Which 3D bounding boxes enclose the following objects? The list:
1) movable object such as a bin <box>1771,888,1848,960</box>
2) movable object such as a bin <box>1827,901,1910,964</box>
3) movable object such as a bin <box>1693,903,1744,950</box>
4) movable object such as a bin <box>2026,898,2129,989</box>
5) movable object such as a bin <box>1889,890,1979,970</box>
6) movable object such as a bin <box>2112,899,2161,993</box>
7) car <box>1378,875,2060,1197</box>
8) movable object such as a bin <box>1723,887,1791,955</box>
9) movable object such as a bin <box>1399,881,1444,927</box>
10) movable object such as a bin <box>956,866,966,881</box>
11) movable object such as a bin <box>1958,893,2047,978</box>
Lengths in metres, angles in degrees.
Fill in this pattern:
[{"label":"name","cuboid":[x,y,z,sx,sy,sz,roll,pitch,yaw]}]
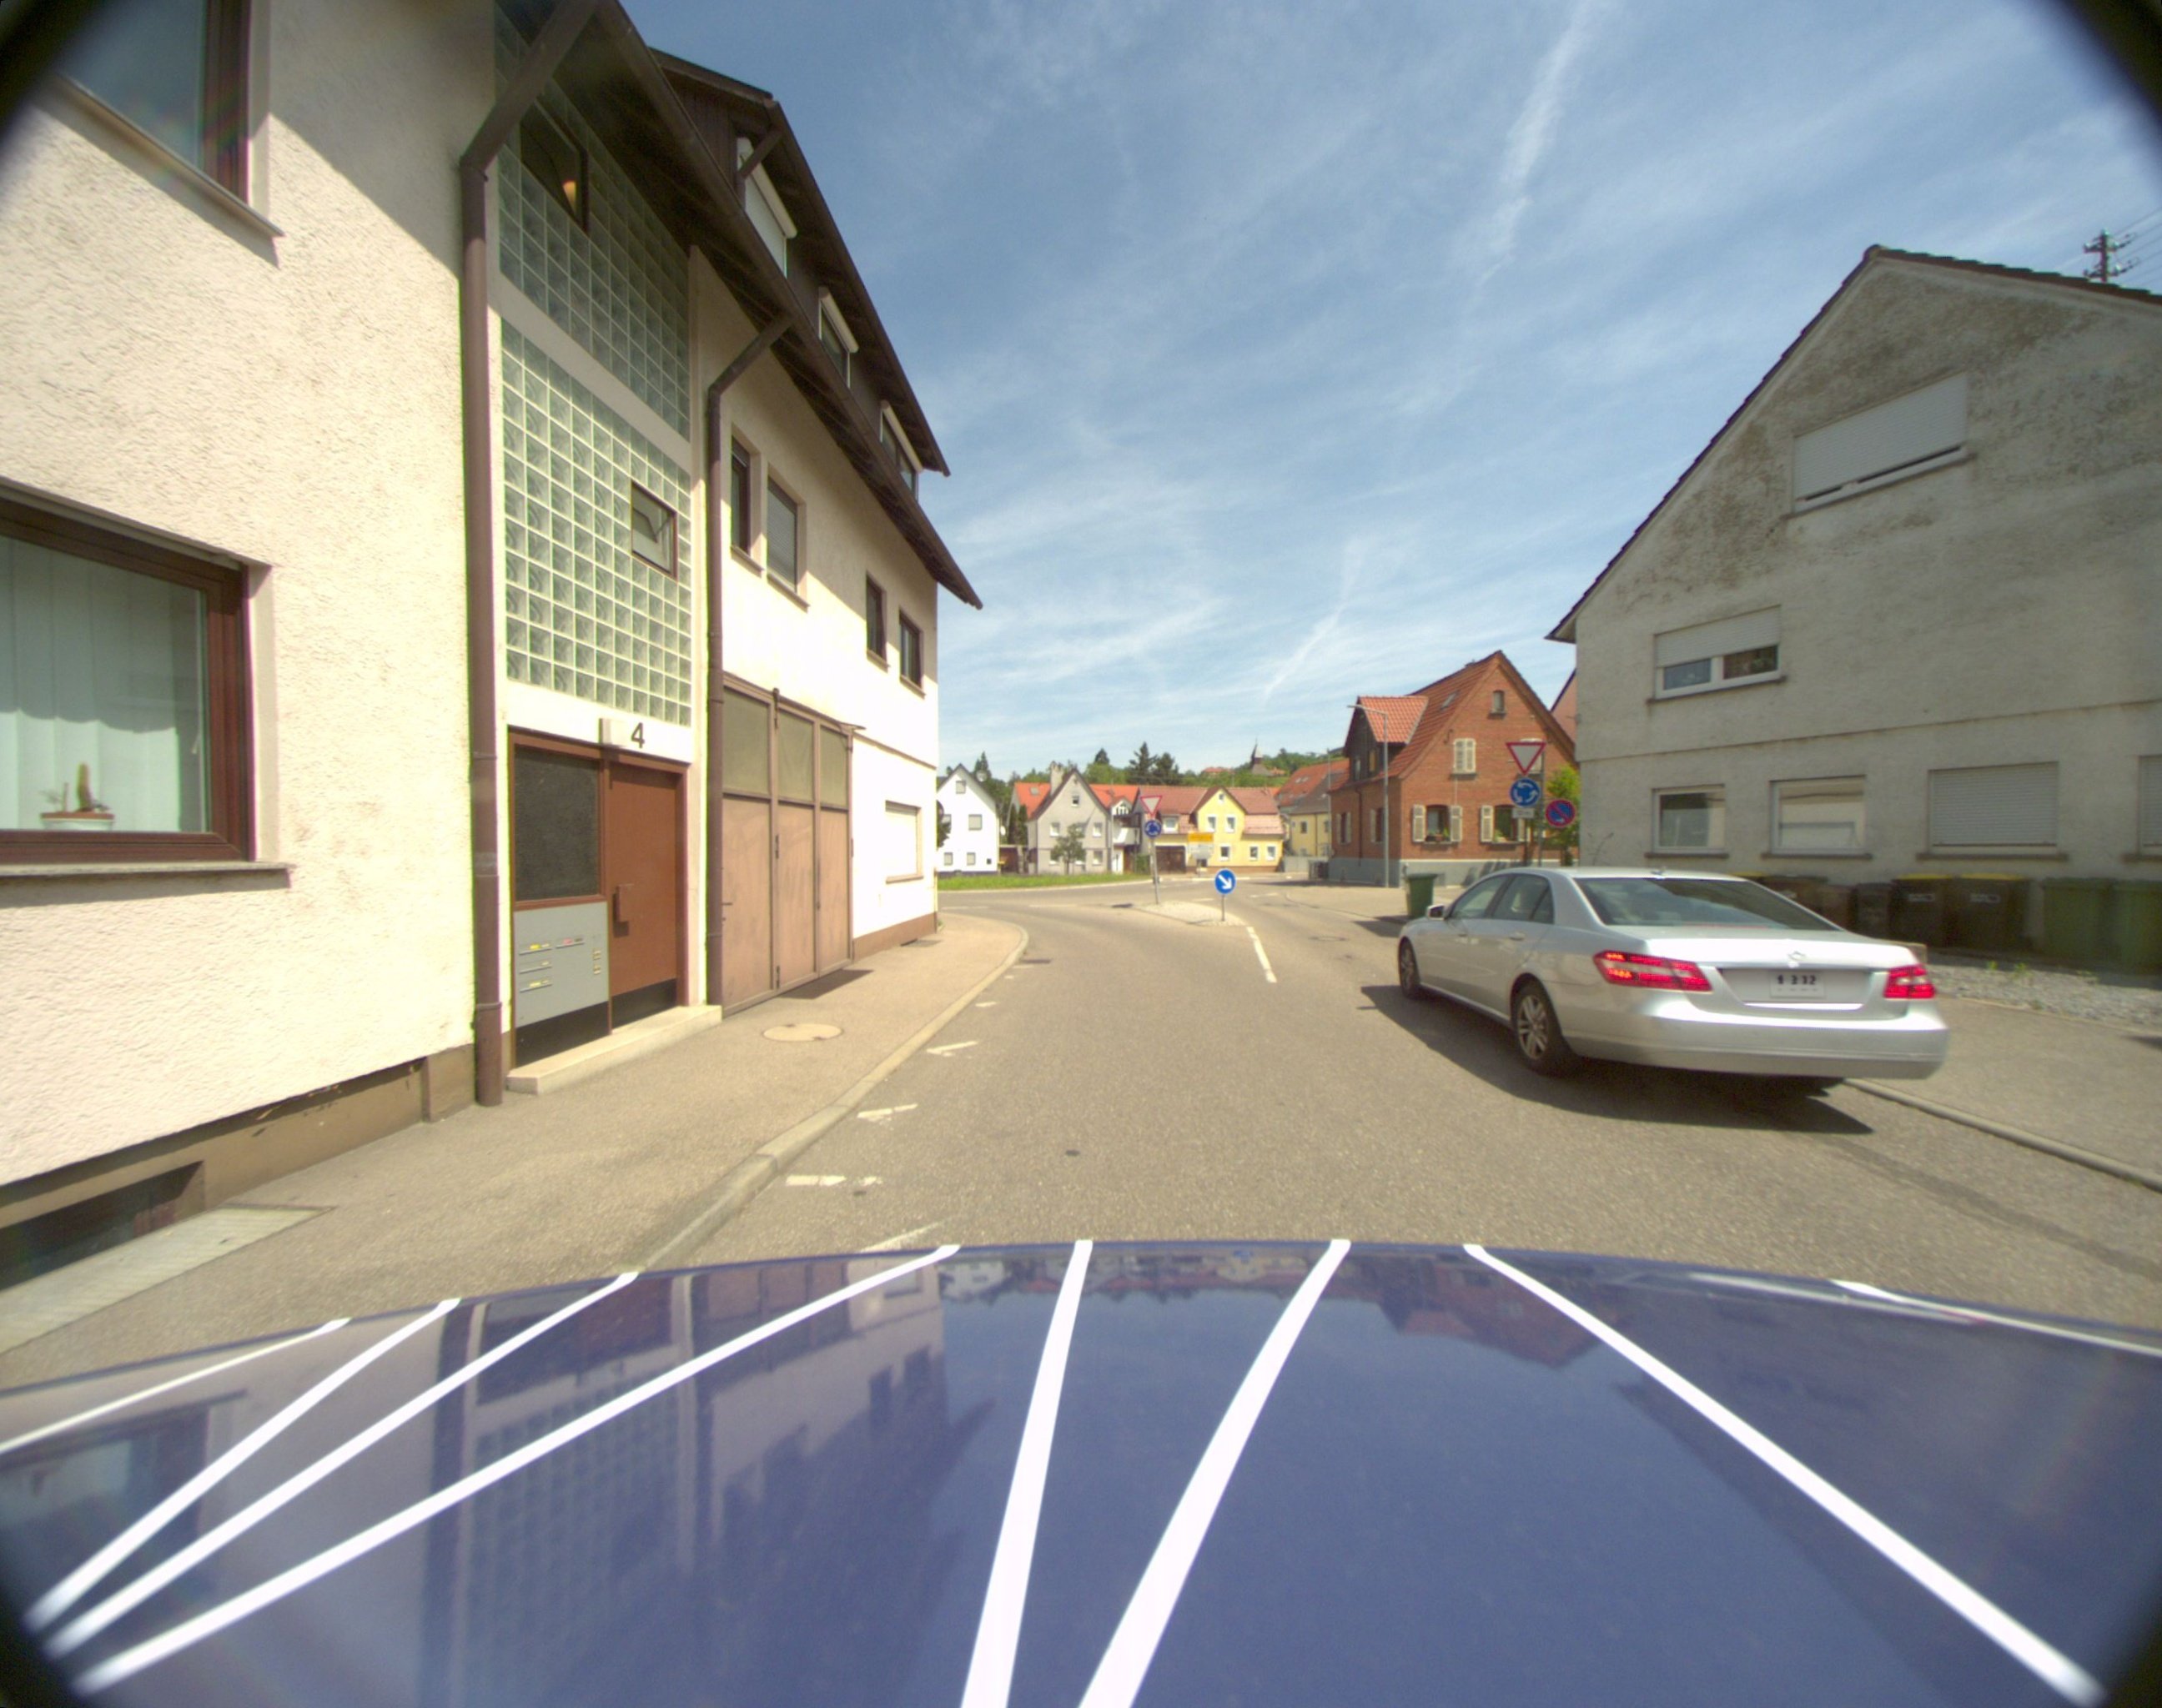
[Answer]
[{"label":"movable object such as a bin","cuboid":[11.837,1.119,12.349,0.686,1.080,0.697,-1,0,-25]},{"label":"movable object such as a bin","cuboid":[12.130,1.190,11.709,0.686,0.891,0.697,-1,0,-25]},{"label":"movable object such as a bin","cuboid":[11.393,1.290,13.584,0.487,0.776,0.526,-1,0,-25]},{"label":"movable object such as a bin","cuboid":[12.892,1.129,9.835,0.742,1.076,0.659,-1,0,-25]},{"label":"movable object such as a bin","cuboid":[12.394,1.078,11.051,0.686,1.076,0.697,-1,0,-25]},{"label":"movable object such as a bin","cuboid":[13.166,1.113,9.260,0.681,1.076,0.582,-1,0,-25]},{"label":"car","cuboid":[4.127,0.985,6.145,1.959,1.477,4.461,2,0,4]},{"label":"movable object such as a bin","cuboid":[11.541,1.124,12.982,0.686,1.080,0.643,-1,0,-25]},{"label":"movable object such as a bin","cuboid":[8.021,1.165,17.923,0.810,1.039,0.828,0,0,12]},{"label":"movable object such as a bin","cuboid":[-8.670,1.393,54.777,0.580,1.042,0.902,0,0,-17]},{"label":"movable object such as a bin","cuboid":[12.675,1.093,10.452,0.686,1.076,0.624,-1,0,-25]}]
